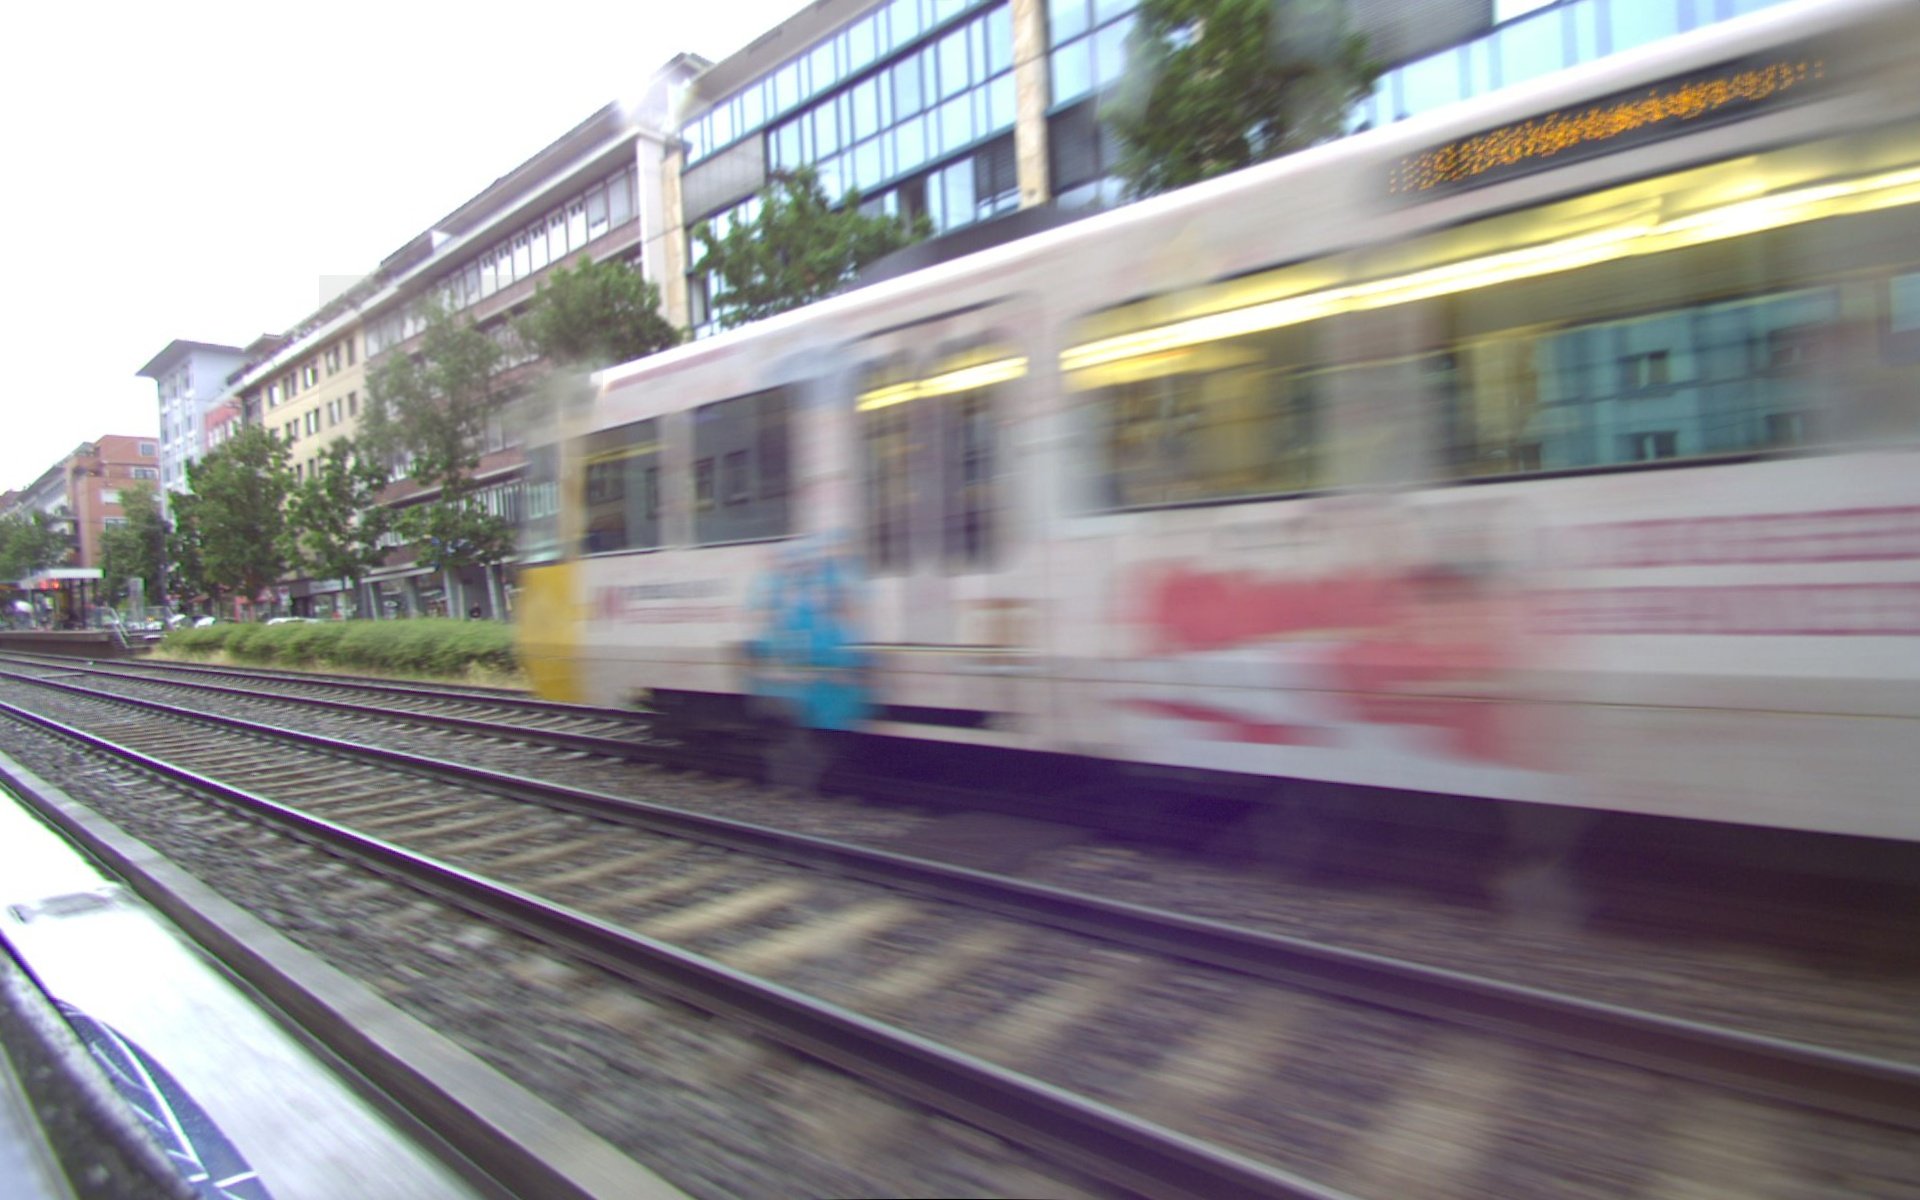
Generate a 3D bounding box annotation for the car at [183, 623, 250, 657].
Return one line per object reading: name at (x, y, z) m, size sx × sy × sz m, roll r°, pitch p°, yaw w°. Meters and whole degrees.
car at (-39.252, 2.121, 53.380) m, size 3.997 × 1.674 × 1.973 m, roll -2°, pitch -1°, yaw 40°

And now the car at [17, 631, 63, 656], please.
car at (-67.015, 3.158, 73.731) m, size 3.997 × 1.674 × 1.973 m, roll -2°, pitch -1°, yaw 40°

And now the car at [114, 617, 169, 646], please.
car at (-51.388, 1.988, 63.522) m, size 3.997 × 1.674 × 1.973 m, roll -2°, pitch -1°, yaw 40°

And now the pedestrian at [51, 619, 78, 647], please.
pedestrian at (-46.610, 1.714, 52.668) m, size 0.637 × 1.396 × 0.946 m, roll -2°, pitch -2°, yaw 38°

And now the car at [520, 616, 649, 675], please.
car at (-10.450, 1.250, 28.042) m, size 4.065 × 1.509 × 1.632 m, roll -2°, pitch -2°, yaw 42°

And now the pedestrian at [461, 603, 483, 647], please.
pedestrian at (-20.925, 1.078, 43.381) m, size 0.743 × 1.884 × 0.569 m, roll -2°, pitch -2°, yaw 41°

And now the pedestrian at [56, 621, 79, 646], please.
pedestrian at (-46.100, 1.715, 52.259) m, size 0.637 × 1.265 × 0.805 m, roll -2°, pitch -2°, yaw 38°

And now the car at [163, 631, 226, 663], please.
car at (-43.102, 2.638, 56.940) m, size 3.997 × 1.674 × 1.973 m, roll -2°, pitch -1°, yaw 40°

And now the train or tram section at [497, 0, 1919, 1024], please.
train or tram section at (3.348, -0.656, 4.947) m, size 18.401 × 4.081 × 2.872 m, roll -2°, pitch -1°, yaw 41°

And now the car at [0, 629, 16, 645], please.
car at (-102.676, 3.976, 108.314) m, size 3.997 × 1.674 × 1.973 m, roll -2°, pitch -1°, yaw 40°

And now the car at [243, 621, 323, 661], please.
car at (-30.504, 1.844, 45.552) m, size 3.997 × 1.674 × 1.973 m, roll -2°, pitch -1°, yaw 40°
